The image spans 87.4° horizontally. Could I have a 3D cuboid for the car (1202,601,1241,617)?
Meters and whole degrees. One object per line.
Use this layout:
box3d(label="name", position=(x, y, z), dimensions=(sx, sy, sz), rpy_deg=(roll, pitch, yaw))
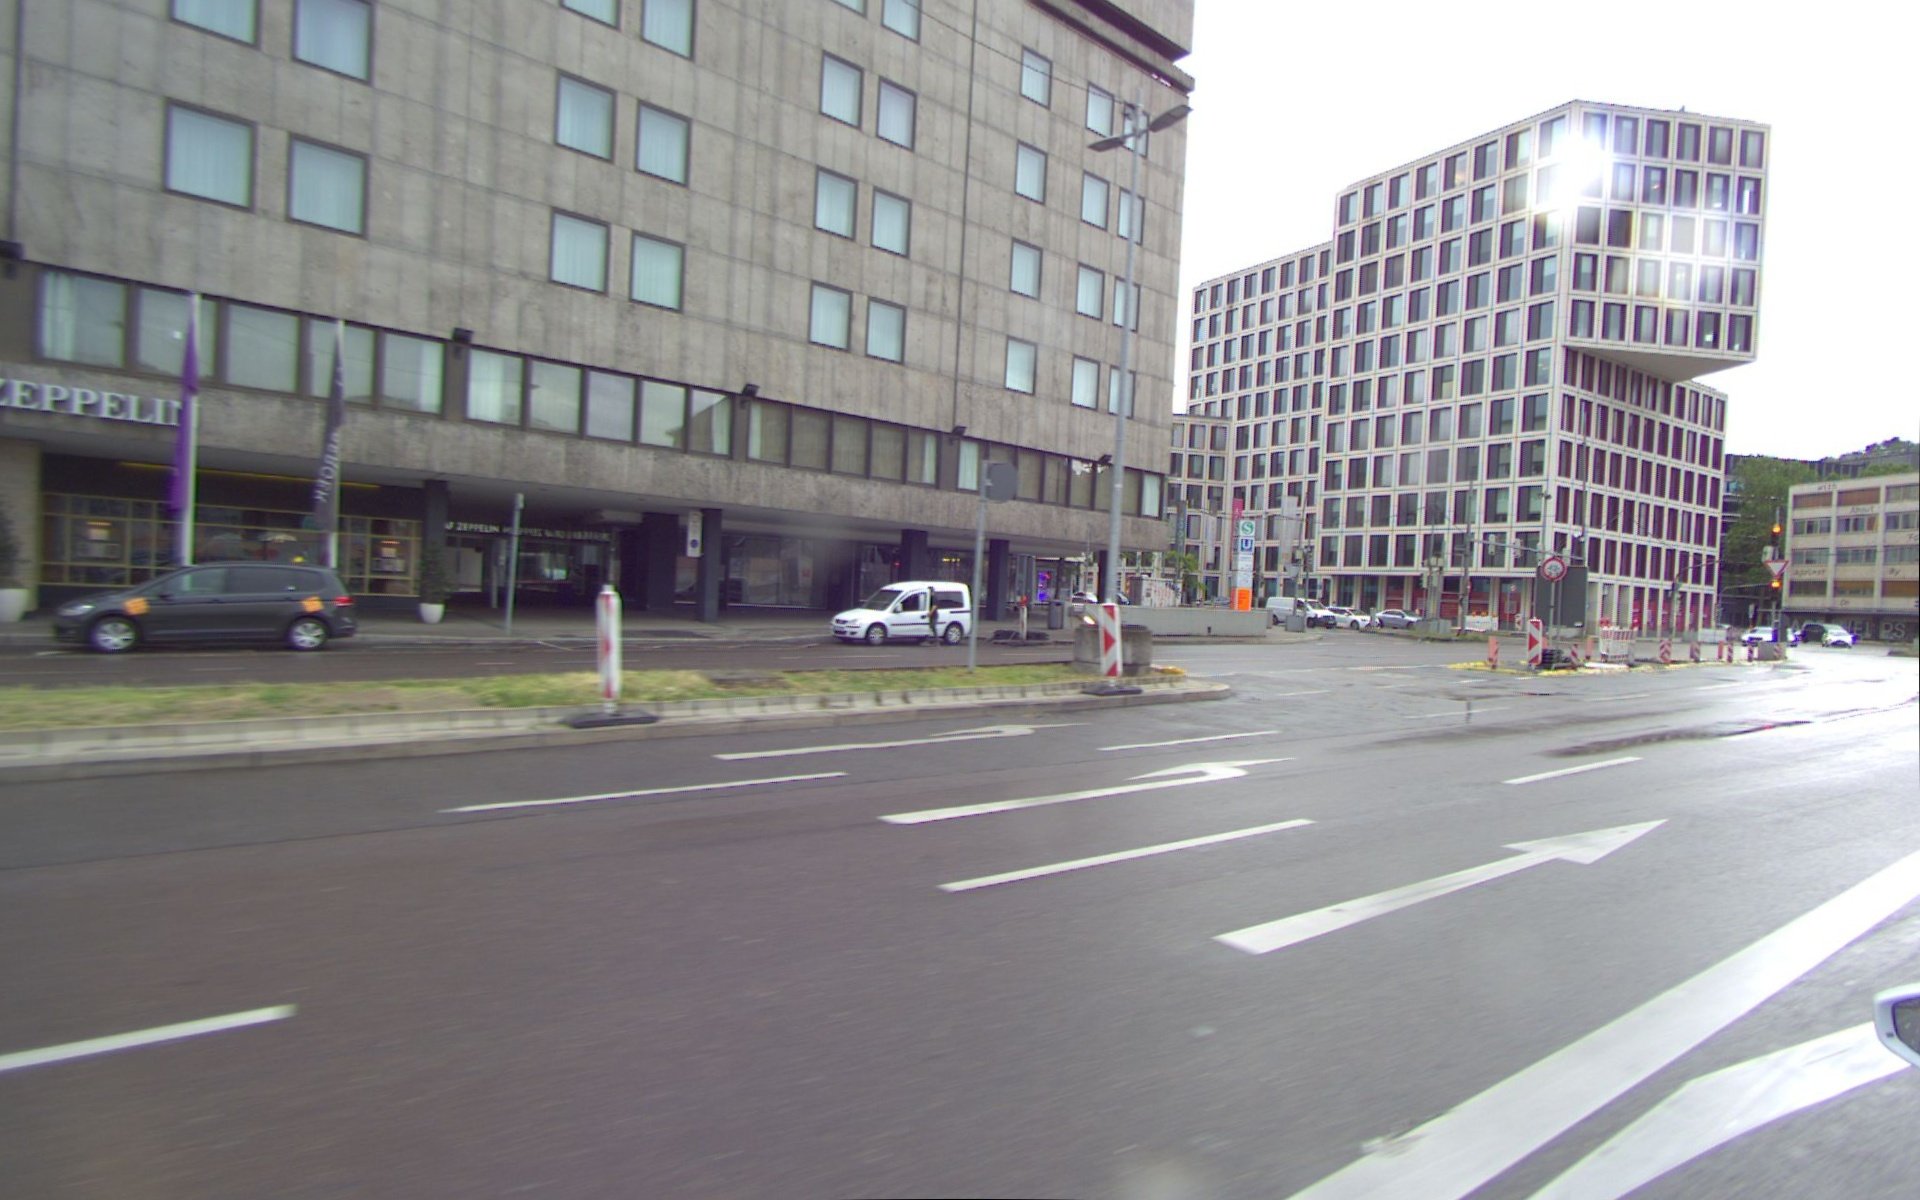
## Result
box3d(label="car", position=(27.599, 0.964, 106.105), dimensions=(1.843, 1.543, 3.973), rpy_deg=(2, 0, -26))

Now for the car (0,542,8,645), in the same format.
box3d(label="car", position=(-17.734, -0.155, 15.277), dimensions=(4.539, 1.720, 1.801), rpy_deg=(2, 1, -39))

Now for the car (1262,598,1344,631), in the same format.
box3d(label="car", position=(22.408, 0.924, 65.857), dimensions=(2.062, 1.930, 5.047), rpy_deg=(2, 0, -28))

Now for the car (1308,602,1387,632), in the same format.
box3d(label="car", position=(25.649, 1.119, 66.650), dimensions=(1.995, 1.761, 4.624), rpy_deg=(2, 1, -31))

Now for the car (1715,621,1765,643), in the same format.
box3d(label="car", position=(74.193, 3.004, 95.619), dimensions=(1.769, 1.840, 4.001), rpy_deg=(2, 1, 5))

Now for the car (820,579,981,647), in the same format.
box3d(label="car", position=(-1.634, 0.380, 28.543), dimensions=(4.335, 1.786, 1.760), rpy_deg=(2, 1, -39))

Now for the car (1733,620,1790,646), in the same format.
box3d(label="car", position=(60.351, 2.513, 75.589), dimensions=(4.767, 1.776, 2.206), rpy_deg=(2, 0, -36))

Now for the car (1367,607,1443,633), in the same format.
box3d(label="car", position=(30.981, 1.354, 70.122), dimensions=(1.992, 1.620, 4.632), rpy_deg=(2, 0, -26))

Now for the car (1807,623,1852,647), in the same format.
box3d(label="car", position=(72.889, 2.879, 84.271), dimensions=(1.772, 1.840, 3.996), rpy_deg=(2, 1, 26))

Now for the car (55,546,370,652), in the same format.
box3d(label="car", position=(-13.676, 0.017, 18.671), dimensions=(4.472, 1.751, 1.803), rpy_deg=(2, 1, -37))

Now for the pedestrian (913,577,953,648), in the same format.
box3d(label="pedestrian", position=(-0.735, 0.345, 27.620), dimensions=(0.789, 1.911, 0.685), rpy_deg=(1, 1, -39))
